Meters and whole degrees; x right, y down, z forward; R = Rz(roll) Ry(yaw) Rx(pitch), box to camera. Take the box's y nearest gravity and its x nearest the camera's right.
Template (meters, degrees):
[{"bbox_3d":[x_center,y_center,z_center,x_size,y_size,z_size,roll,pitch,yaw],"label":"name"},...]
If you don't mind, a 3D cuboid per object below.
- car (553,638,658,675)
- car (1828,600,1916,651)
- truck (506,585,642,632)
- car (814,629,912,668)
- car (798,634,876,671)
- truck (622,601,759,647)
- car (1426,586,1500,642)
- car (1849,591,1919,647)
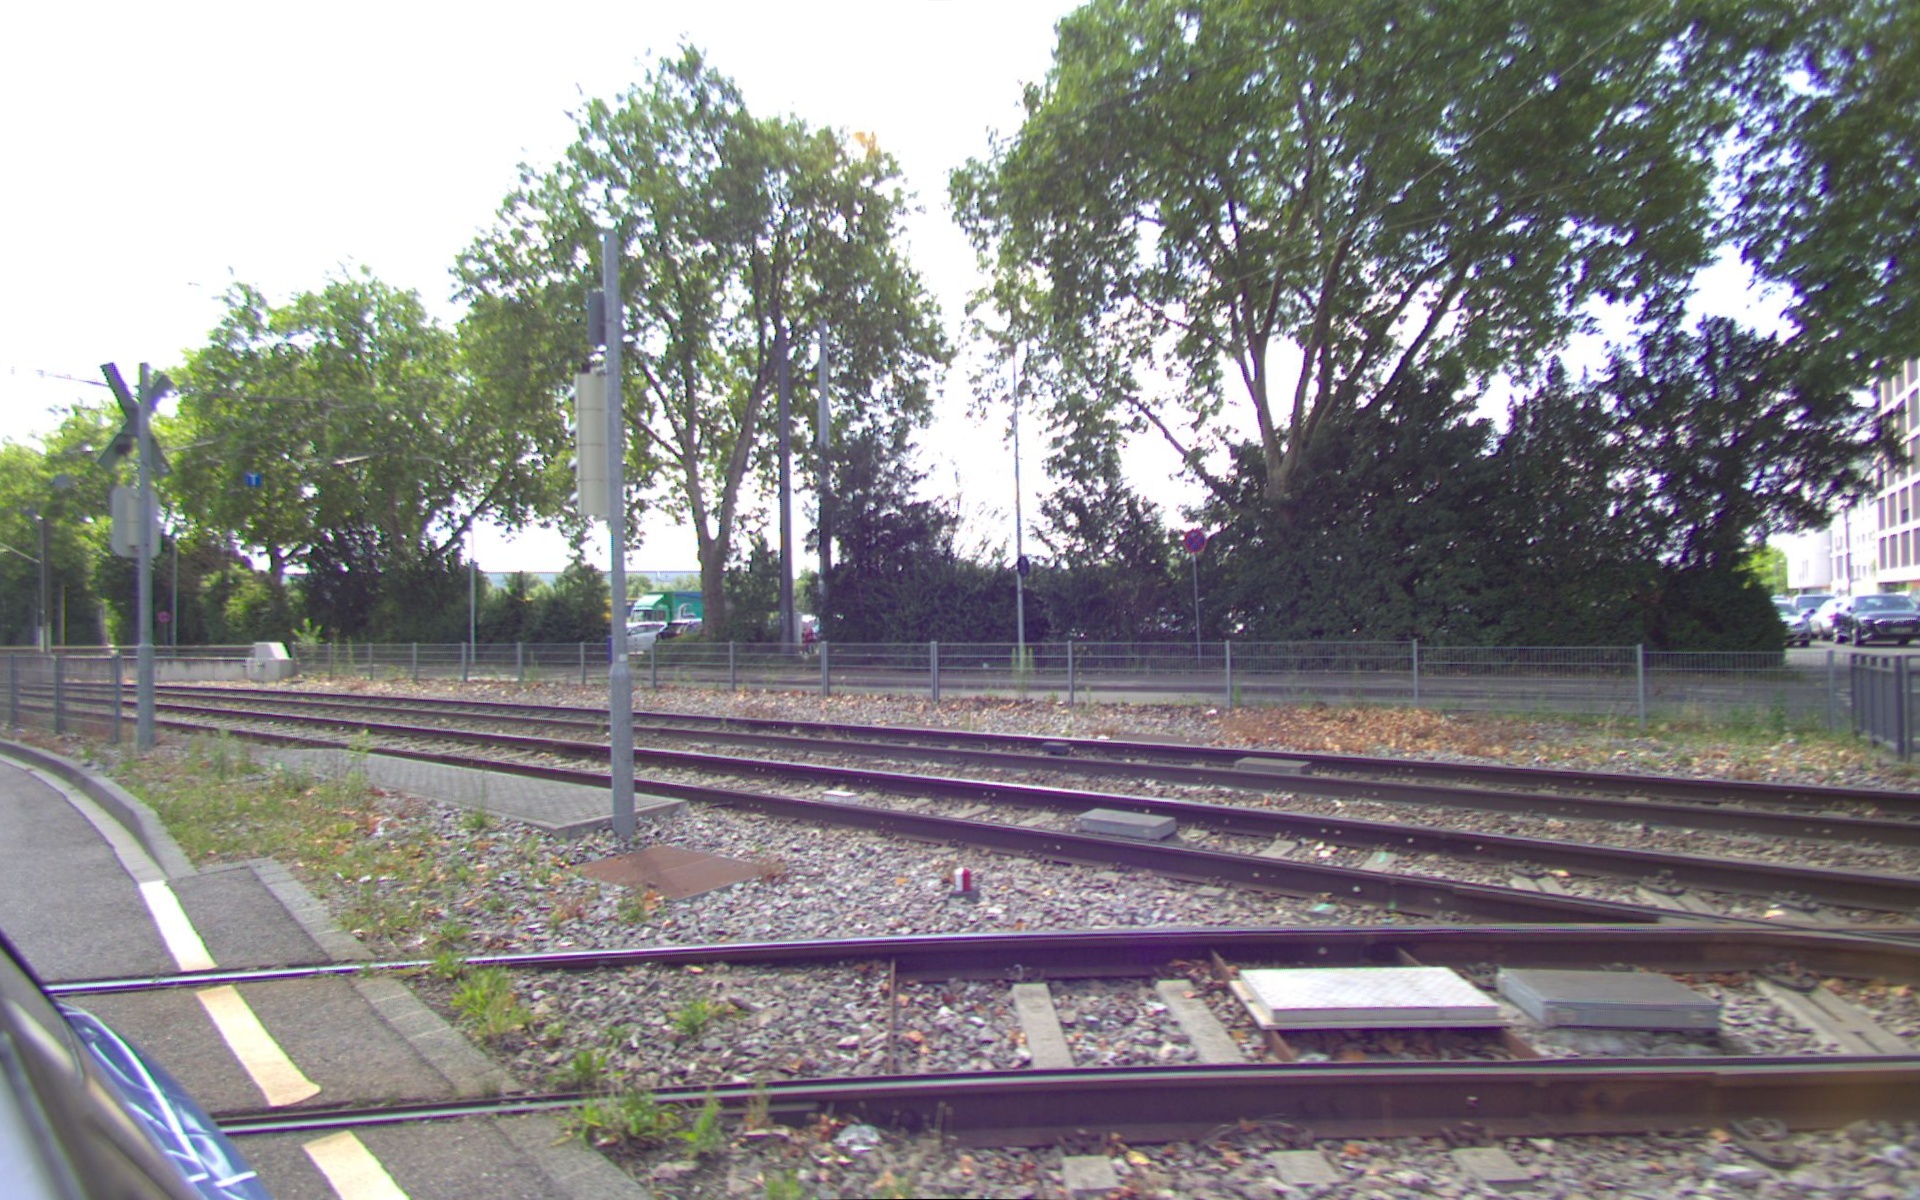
[{"bbox_3d":[-15.571,2.447,44.594,1.996,1.453,3.952,0,0,35],"label":"car"},{"bbox_3d":[30.516,0.794,33.970,1.774,1.438,3.952,0,2,36],"label":"car"},{"bbox_3d":[-36.862,0.925,97.442,2.743,4.105,12.672,0,-2,36],"label":"truck"},{"bbox_3d":[-4.010,1.983,42.299,1.996,1.453,3.952,0,0,35],"label":"car"},{"bbox_3d":[-6.453,2.728,53.375,1.996,1.785,3.952,0,0,35],"label":"car"},{"bbox_3d":[-17.436,1.585,66.132,2.704,2.814,8.744,0,-2,40],"label":"truck"},{"bbox_3d":[18.240,0.525,36.621,1.994,1.913,4.065,0,-2,32],"label":"car"},{"bbox_3d":[27.643,0.515,29.842,1.774,1.438,3.952,0,2,36],"label":"car"}]
